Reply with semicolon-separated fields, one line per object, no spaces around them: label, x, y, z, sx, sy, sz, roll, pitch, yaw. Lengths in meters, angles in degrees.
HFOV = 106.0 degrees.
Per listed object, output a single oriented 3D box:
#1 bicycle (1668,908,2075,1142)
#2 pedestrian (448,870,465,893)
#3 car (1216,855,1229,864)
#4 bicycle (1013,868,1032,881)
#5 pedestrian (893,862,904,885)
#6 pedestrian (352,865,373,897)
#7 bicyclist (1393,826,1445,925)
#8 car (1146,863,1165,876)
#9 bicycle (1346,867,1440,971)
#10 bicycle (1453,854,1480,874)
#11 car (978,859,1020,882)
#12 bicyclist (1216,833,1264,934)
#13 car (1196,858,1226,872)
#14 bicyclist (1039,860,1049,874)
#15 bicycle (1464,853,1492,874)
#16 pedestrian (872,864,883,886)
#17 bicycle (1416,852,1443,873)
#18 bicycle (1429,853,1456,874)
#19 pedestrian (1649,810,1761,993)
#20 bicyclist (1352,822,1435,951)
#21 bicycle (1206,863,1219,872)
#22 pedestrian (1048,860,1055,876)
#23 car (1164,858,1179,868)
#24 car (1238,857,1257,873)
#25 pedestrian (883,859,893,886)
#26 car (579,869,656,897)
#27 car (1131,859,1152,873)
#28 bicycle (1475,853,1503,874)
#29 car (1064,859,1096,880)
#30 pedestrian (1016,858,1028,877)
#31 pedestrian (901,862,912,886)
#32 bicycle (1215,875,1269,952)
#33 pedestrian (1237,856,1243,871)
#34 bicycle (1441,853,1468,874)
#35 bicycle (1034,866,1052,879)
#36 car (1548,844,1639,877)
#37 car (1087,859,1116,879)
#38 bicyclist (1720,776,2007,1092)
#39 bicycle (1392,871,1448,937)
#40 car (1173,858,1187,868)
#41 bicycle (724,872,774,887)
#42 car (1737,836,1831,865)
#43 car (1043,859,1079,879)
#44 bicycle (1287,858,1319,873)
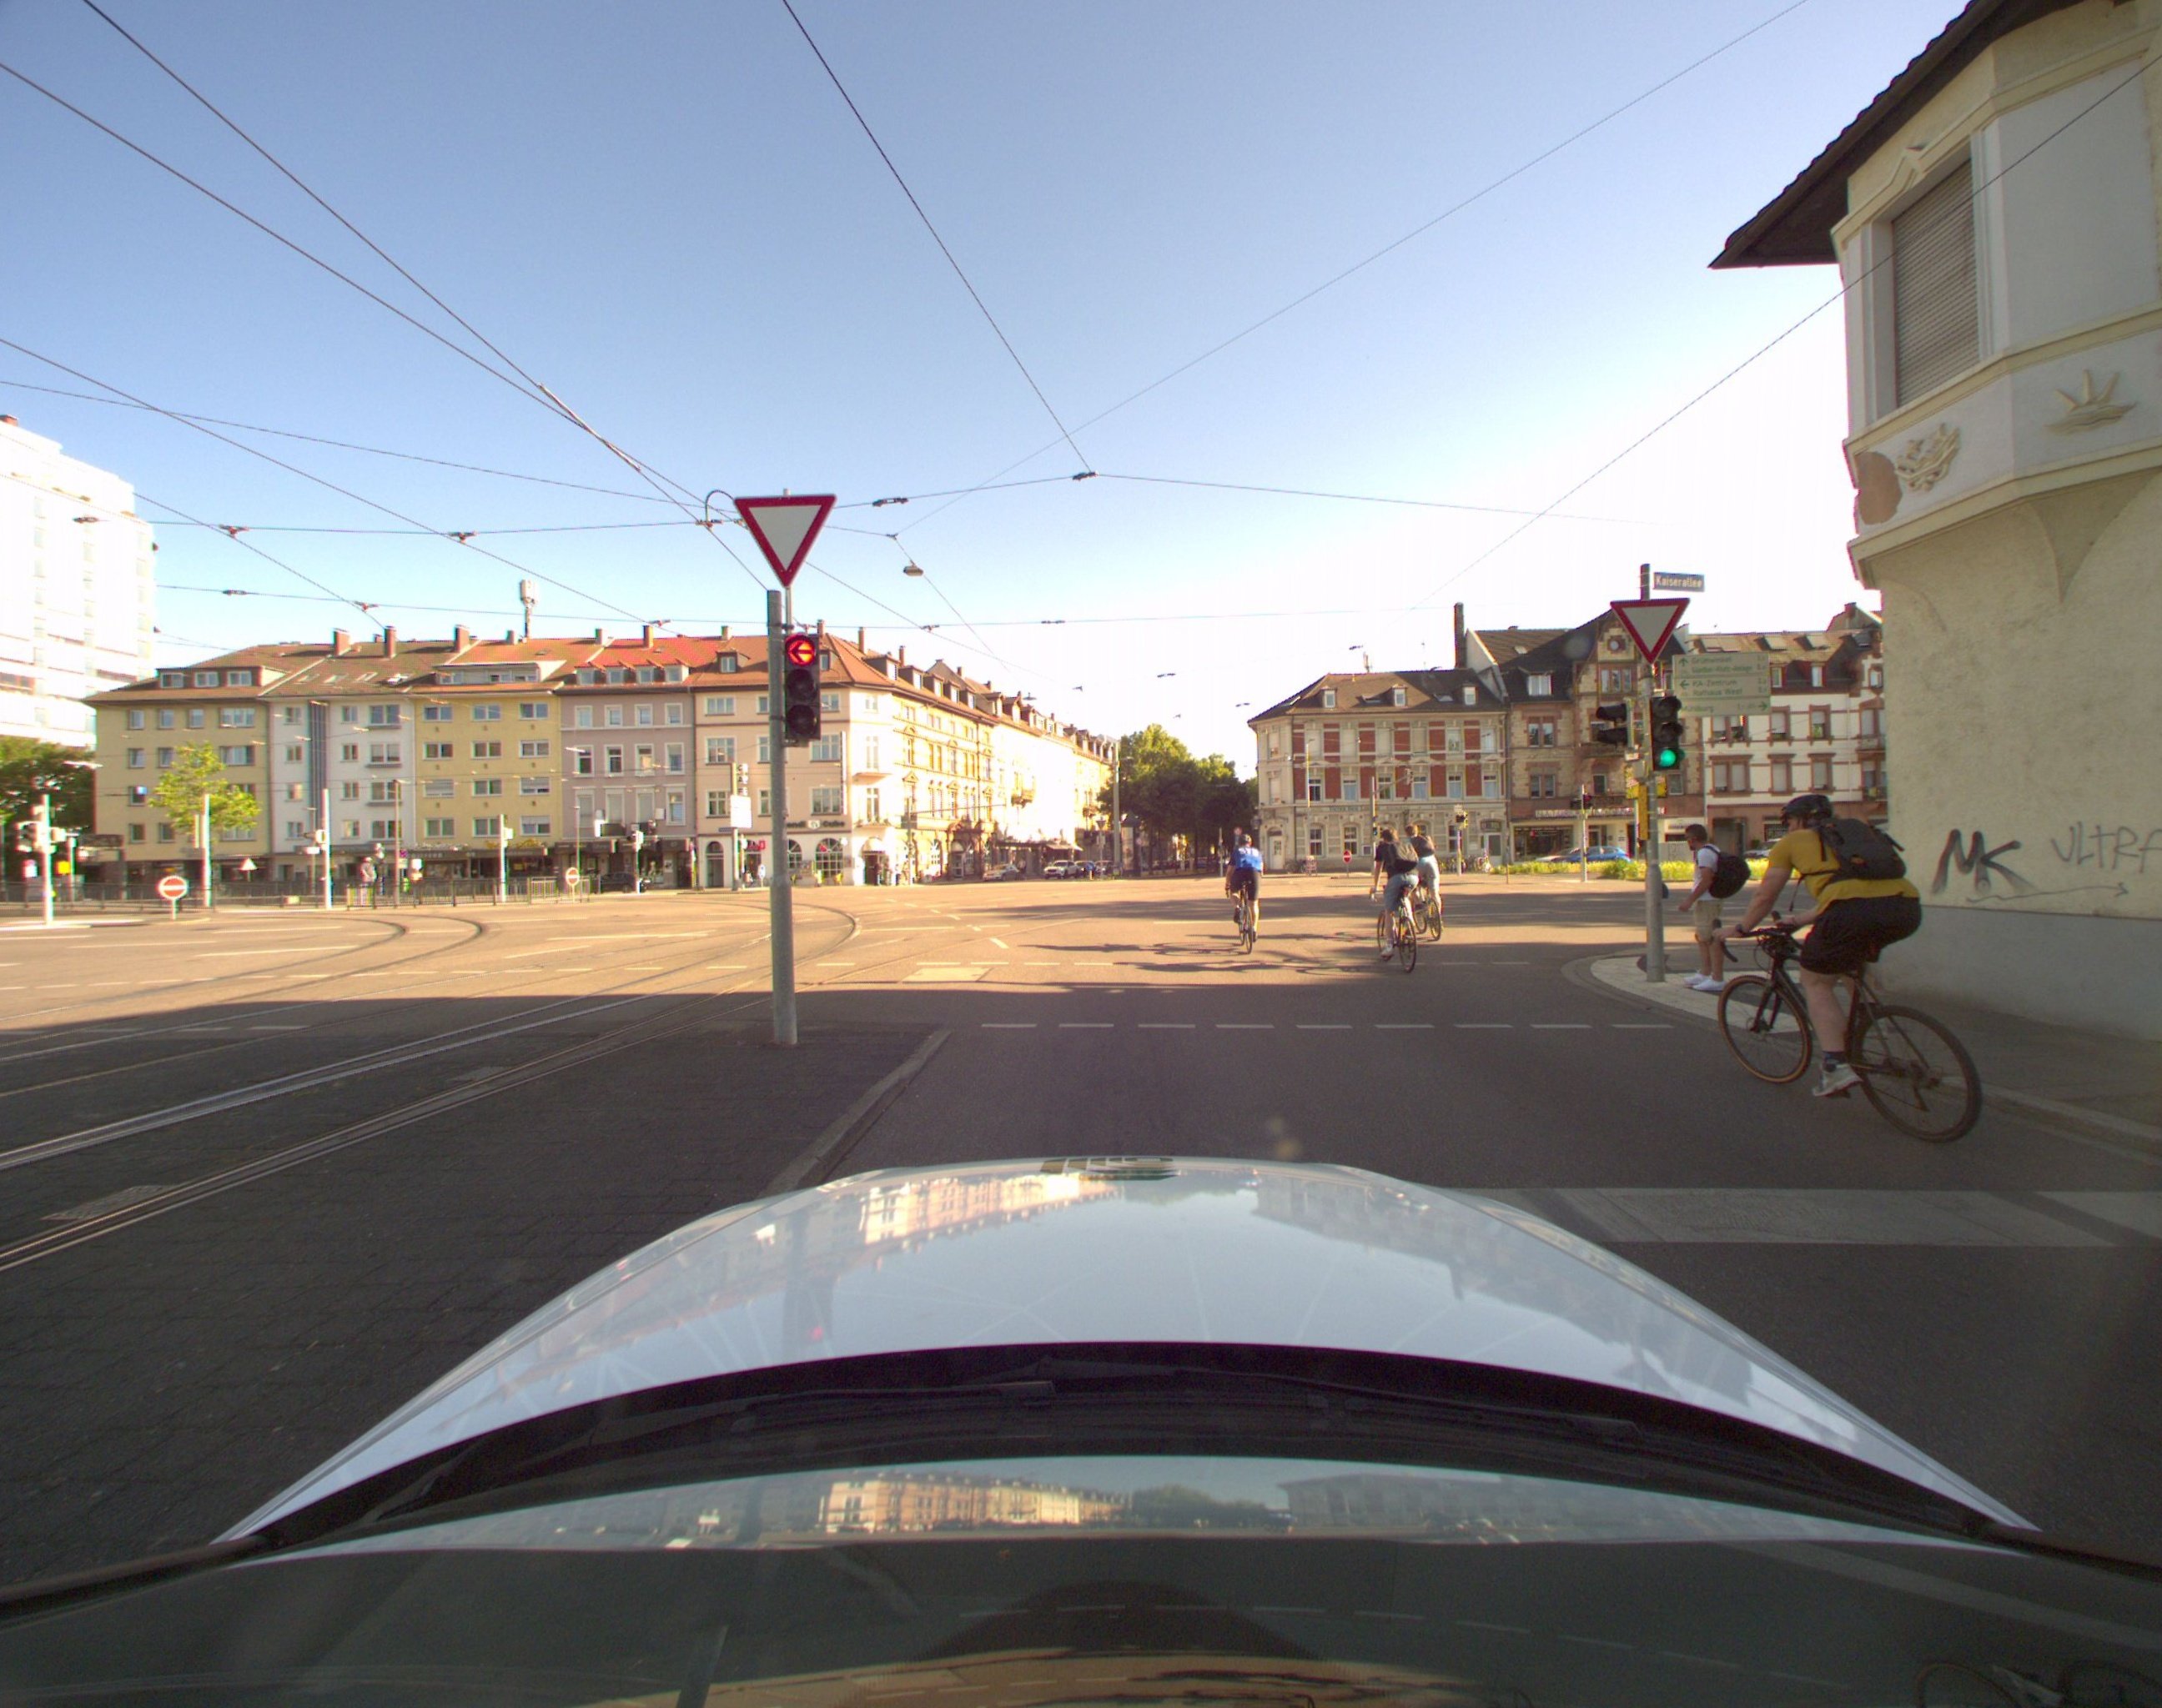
bicycle;4.487;0.892;4.858;0.752;1.031;1.782;0;-1;3
pedestrian;-44.023;1.950;57.429;0.631;1.634;0.700;0;-1;-2
car;23.282;0.922;134.291;1.546;1.513;3.673;-1;-1;19
bicycle;-4.726;1.637;65.547;0.756;1.008;2.406;-1;-1;16
pedestrian;-12.632;1.346;56.356;0.631;1.634;0.700;0;-1;-2
pedestrian;-36.556;1.378;41.428;0.523;1.628;0.577;0;-1;0
bicyclist;5.791;0.359;14.007;0.684;1.633;0.887;-1;-1;14
car;11.225;2.376;122.538;1.977;1.904;4.019;-1;-1;19
bicycle;4.031;0.798;10.653;0.751;1.236;1.706;-1;-1;7
bicycle;24.779;0.626;52.374;0.626;1.287;2.663;0;-1;3
car;-6.741;1.347;67.451;1.977;1.904;4.019;-1;-1;19
bicyclist;2.441;0.431;12.585;0.635;1.494;0.885;0;1;6
car;18.348;1.567;114.712;3.955;1.904;2.009;-1;-1;17
bicyclist;-3.284;1.120;71.464;0.626;1.185;0.689;-1;-1;23
bicycle;25.506;0.622;52.370;0.626;1.287;2.663;0;-1;3
pedestrian;-14.151;1.459;56.669;0.631;1.477;0.465;0;-1;-2
bicycle;22.475;0.549;52.551;0.689;1.287;2.663;0;-1;3
bicycle;23.265;0.620;52.409;0.689;1.287;2.663;0;-1;3
pedestrian;6.361;0.468;8.314;0.589;1.756;0.635;-5;-1;-37
bicyclist;4.026;0.409;10.566;0.801;1.606;0.885;0;-1;7
bicycle;16.002;1.653;98.852;0.630;1.085;1.687;0;-1;-28
pedestrian;-3.121;1.488;85.670;0.539;1.631;0.709;-1;-1;15
car;14.699;1.457;131.845;1.546;1.513;3.673;-1;-1;19
car;16.825;1.119;82.350;1.680;1.565;3.855;-1;-1;14
pedestrian;-13.624;1.299;57.534;0.631;1.881;0.465;0;-1;-2
car;-30.584;1.919;53.808;3.962;1.670;2.006;-2;0;10
car;8.407;1.625;112.681;1.977;1.904;4.019;-1;-1;19
bicycle;26.202;0.622;52.341;0.626;1.287;2.663;0;-1;3
car;-0.039;1.372;73.820;1.979;1.904;4.015;-1;-1;14
pedestrian;-4.754;1.107;65.479;0.814;1.512;0.601;-1;-1;16
pedestrian;-12.378;1.401;57.655;0.631;1.634;0.700;0;-1;-2
bicycle;2.451;0.876;12.542;0.623;1.085;1.705;0;-1;5
pedestrian;19.268;1.188;98.733;0.635;1.796;0.492;-1;-1;14
bicycle;23.989;0.611;52.403;0.626;1.287;2.663;0;-1;3
bicycle;-3.289;1.638;71.459;0.644;1.123;2.265;-1;-1;23
car;28.347;0.345;45.124;3.769;1.778;2.000;0;-1;1
car;2.072;1.406;79.908;1.979;1.904;4.015;-1;-1;14
bicyclist;4.470;0.427;4.738;0.802;1.663;0.884;0;-1;2
bicycle;5.807;0.822;14.025;0.644;1.031;1.778;-1;-1;15
car;16.538;1.509;135.876;1.546;1.513;3.673;-1;-1;19
bicycle;-23.420;1.791;57.456;3.118;0.980;1.002;0;-1;1
car;45.315;-0.229;52.554;4.349;1.778;2.000;0;-1;1
car;-1.647;1.234;67.601;1.979;1.618;4.015;-1;-1;14
bicycle;15.470;0.796;56.850;2.040;0.998;0.631;-1;-1;4
